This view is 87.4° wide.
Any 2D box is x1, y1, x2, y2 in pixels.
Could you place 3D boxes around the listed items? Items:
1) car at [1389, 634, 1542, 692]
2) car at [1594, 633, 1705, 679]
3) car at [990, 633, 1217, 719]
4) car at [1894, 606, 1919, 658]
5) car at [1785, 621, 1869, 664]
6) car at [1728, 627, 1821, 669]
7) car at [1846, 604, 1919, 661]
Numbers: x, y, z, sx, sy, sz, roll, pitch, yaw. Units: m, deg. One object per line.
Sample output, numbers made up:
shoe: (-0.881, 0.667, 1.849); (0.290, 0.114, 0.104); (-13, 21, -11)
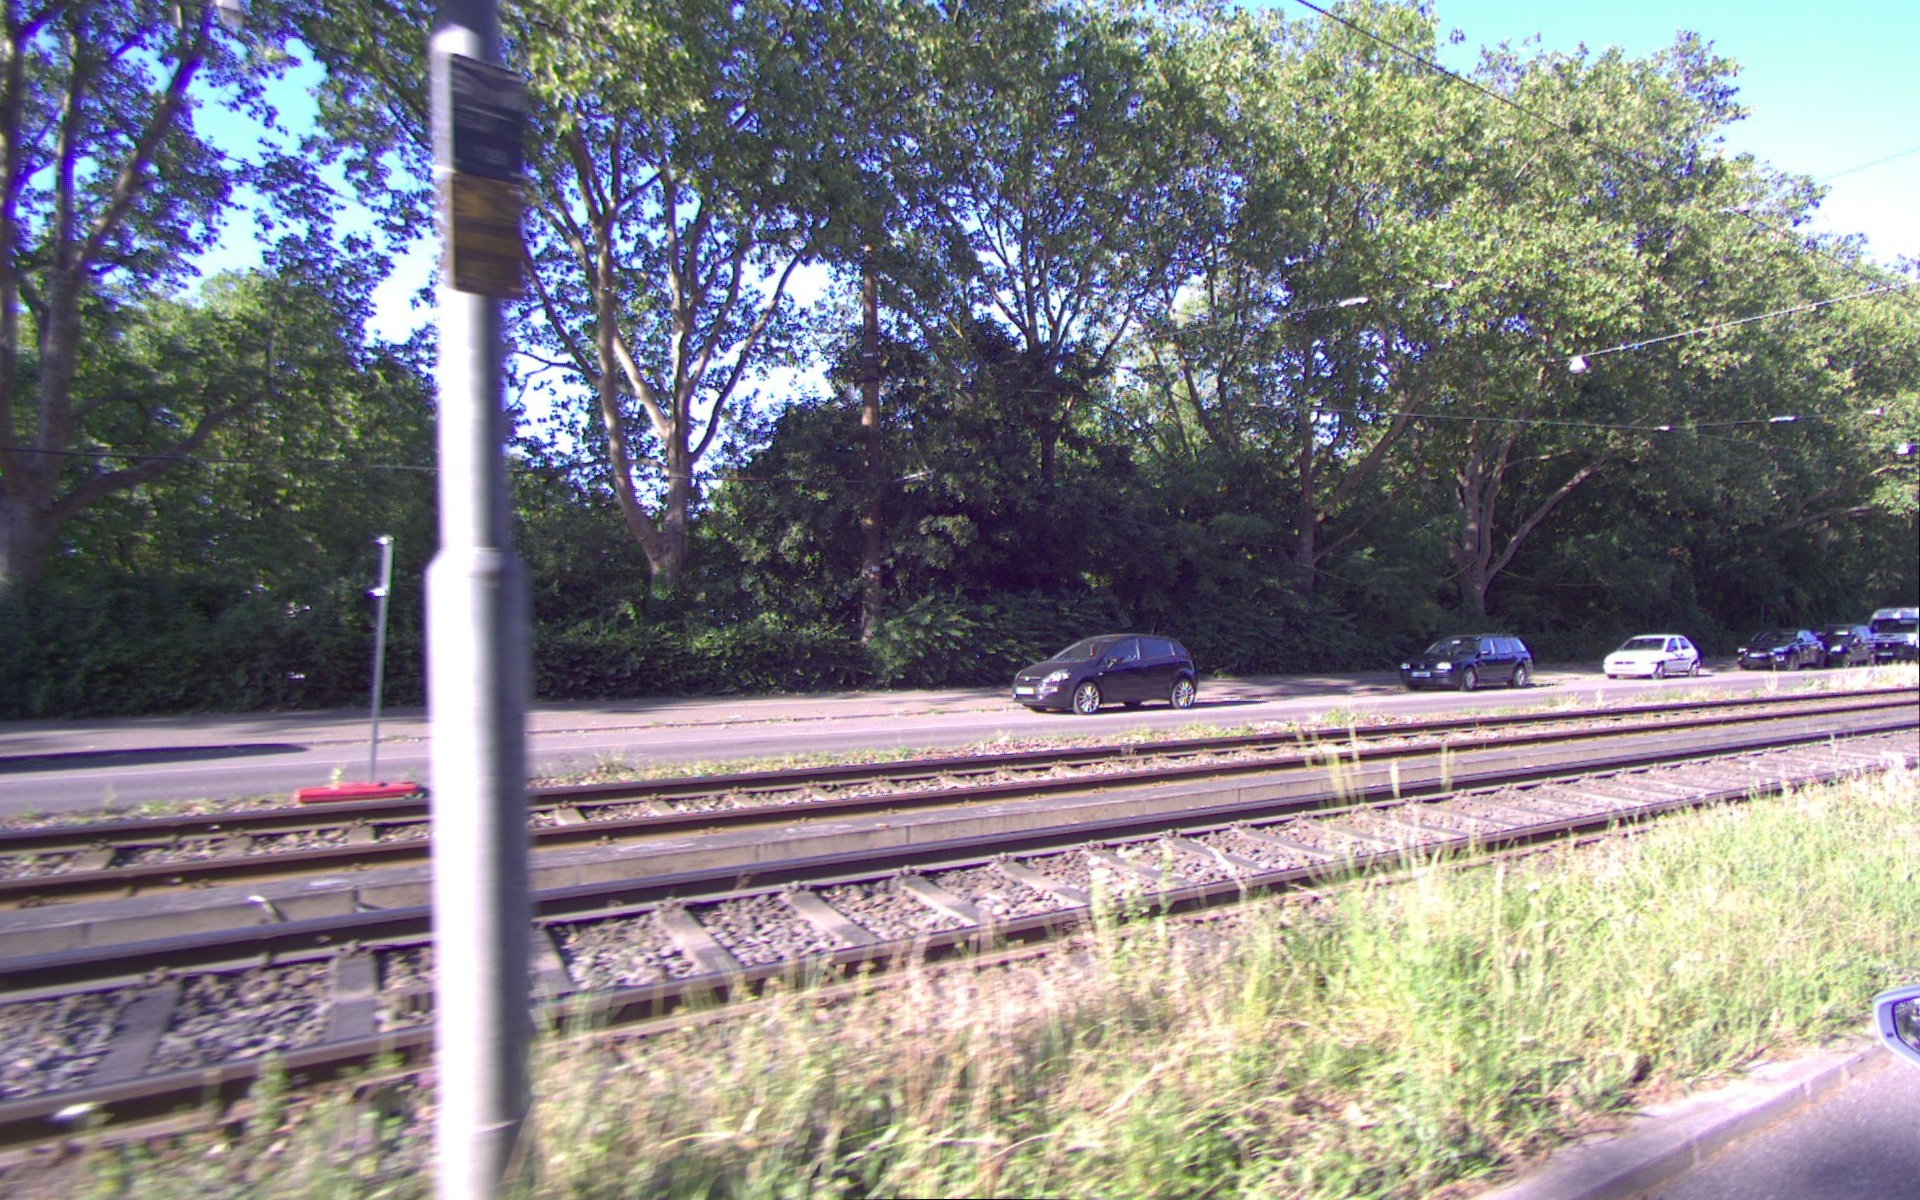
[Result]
car: (13.662, 1.664, 27.085); (4.278, 1.455, 1.816); (1, -3, -34)
car: (22.903, 1.834, 33.356); (3.811, 1.455, 1.729); (1, -3, -34)
car: (2.871, 1.423, 19.773); (4.348, 1.525, 1.816); (1, -3, -34)
car: (50.580, 1.660, 51.846); (6.209, 2.553, 2.170); (1, -3, -35)
car: (37.163, 1.834, 43.034); (3.841, 1.750, 1.729); (1, -3, -34)
car: (32.032, 1.864, 39.479); (3.841, 1.575, 1.729); (1, -3, -34)
car: (44.215, 1.564, 47.338); (5.986, 2.553, 2.171); (1, -3, -34)
